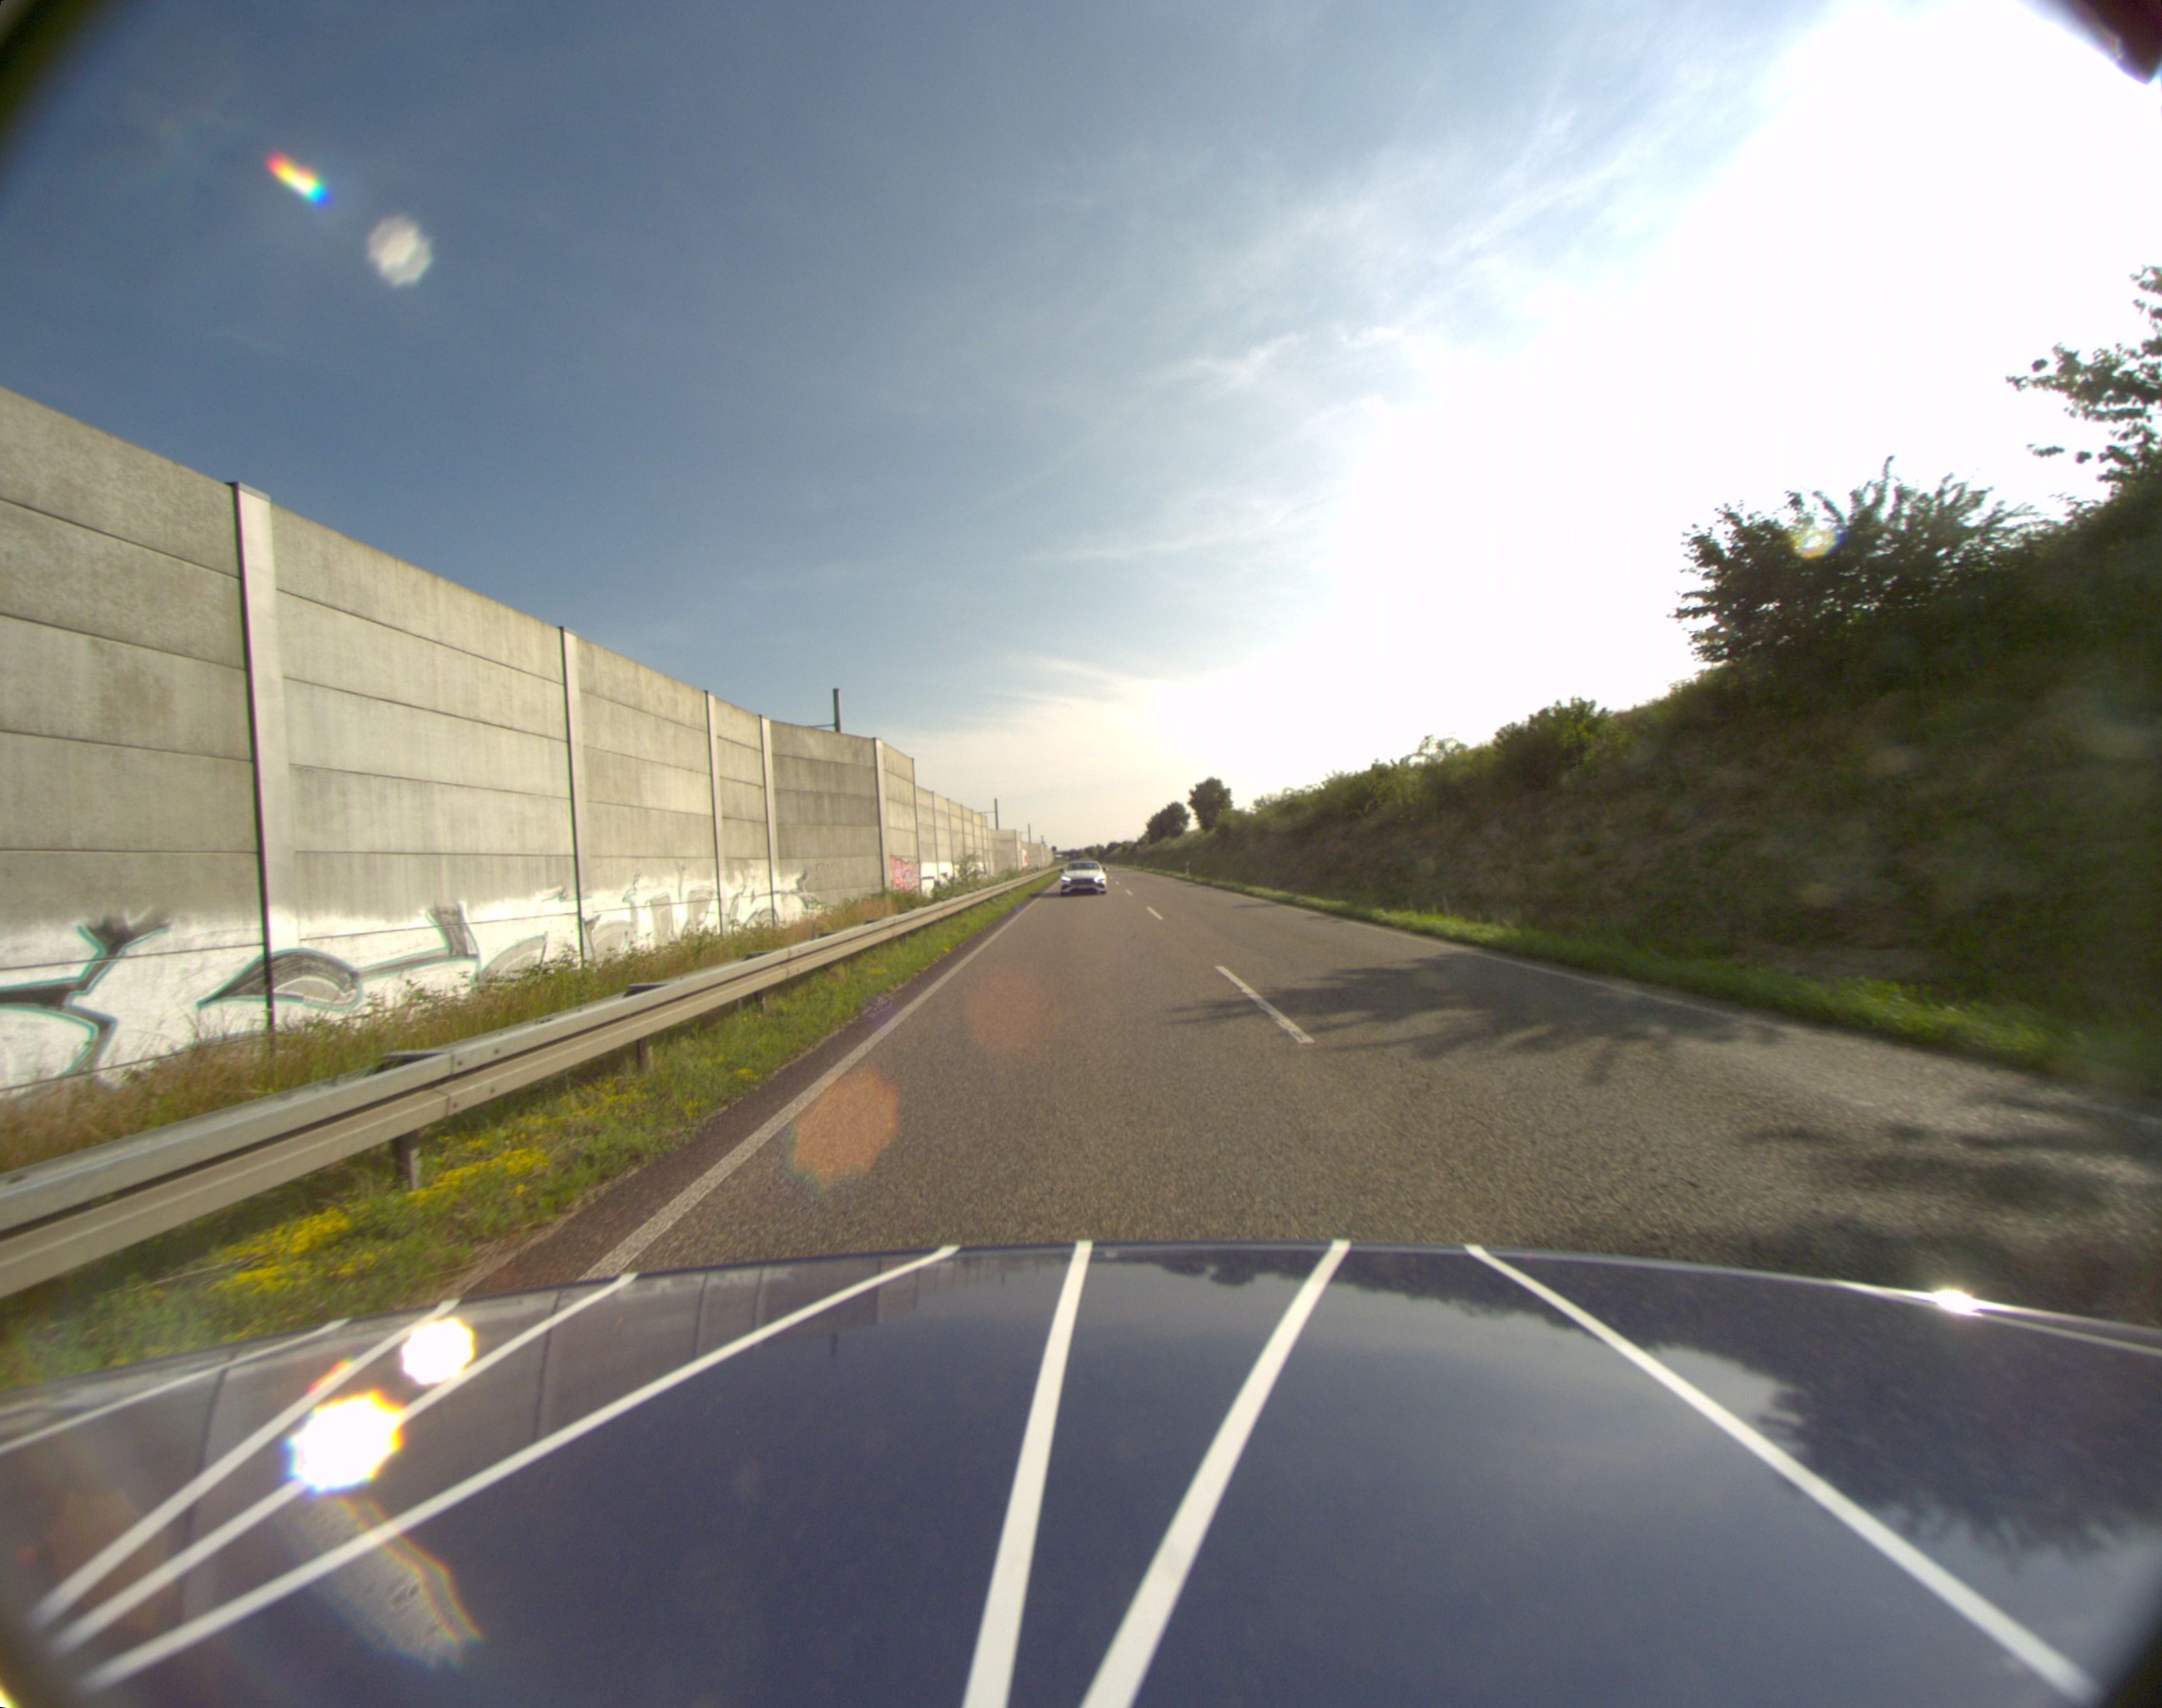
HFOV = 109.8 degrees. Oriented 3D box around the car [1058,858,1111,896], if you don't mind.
[{"bbox_3d":[0.066,0.934,32.678,1.930,1.398,4.973,-3,0,-3],"label":"car"}]
